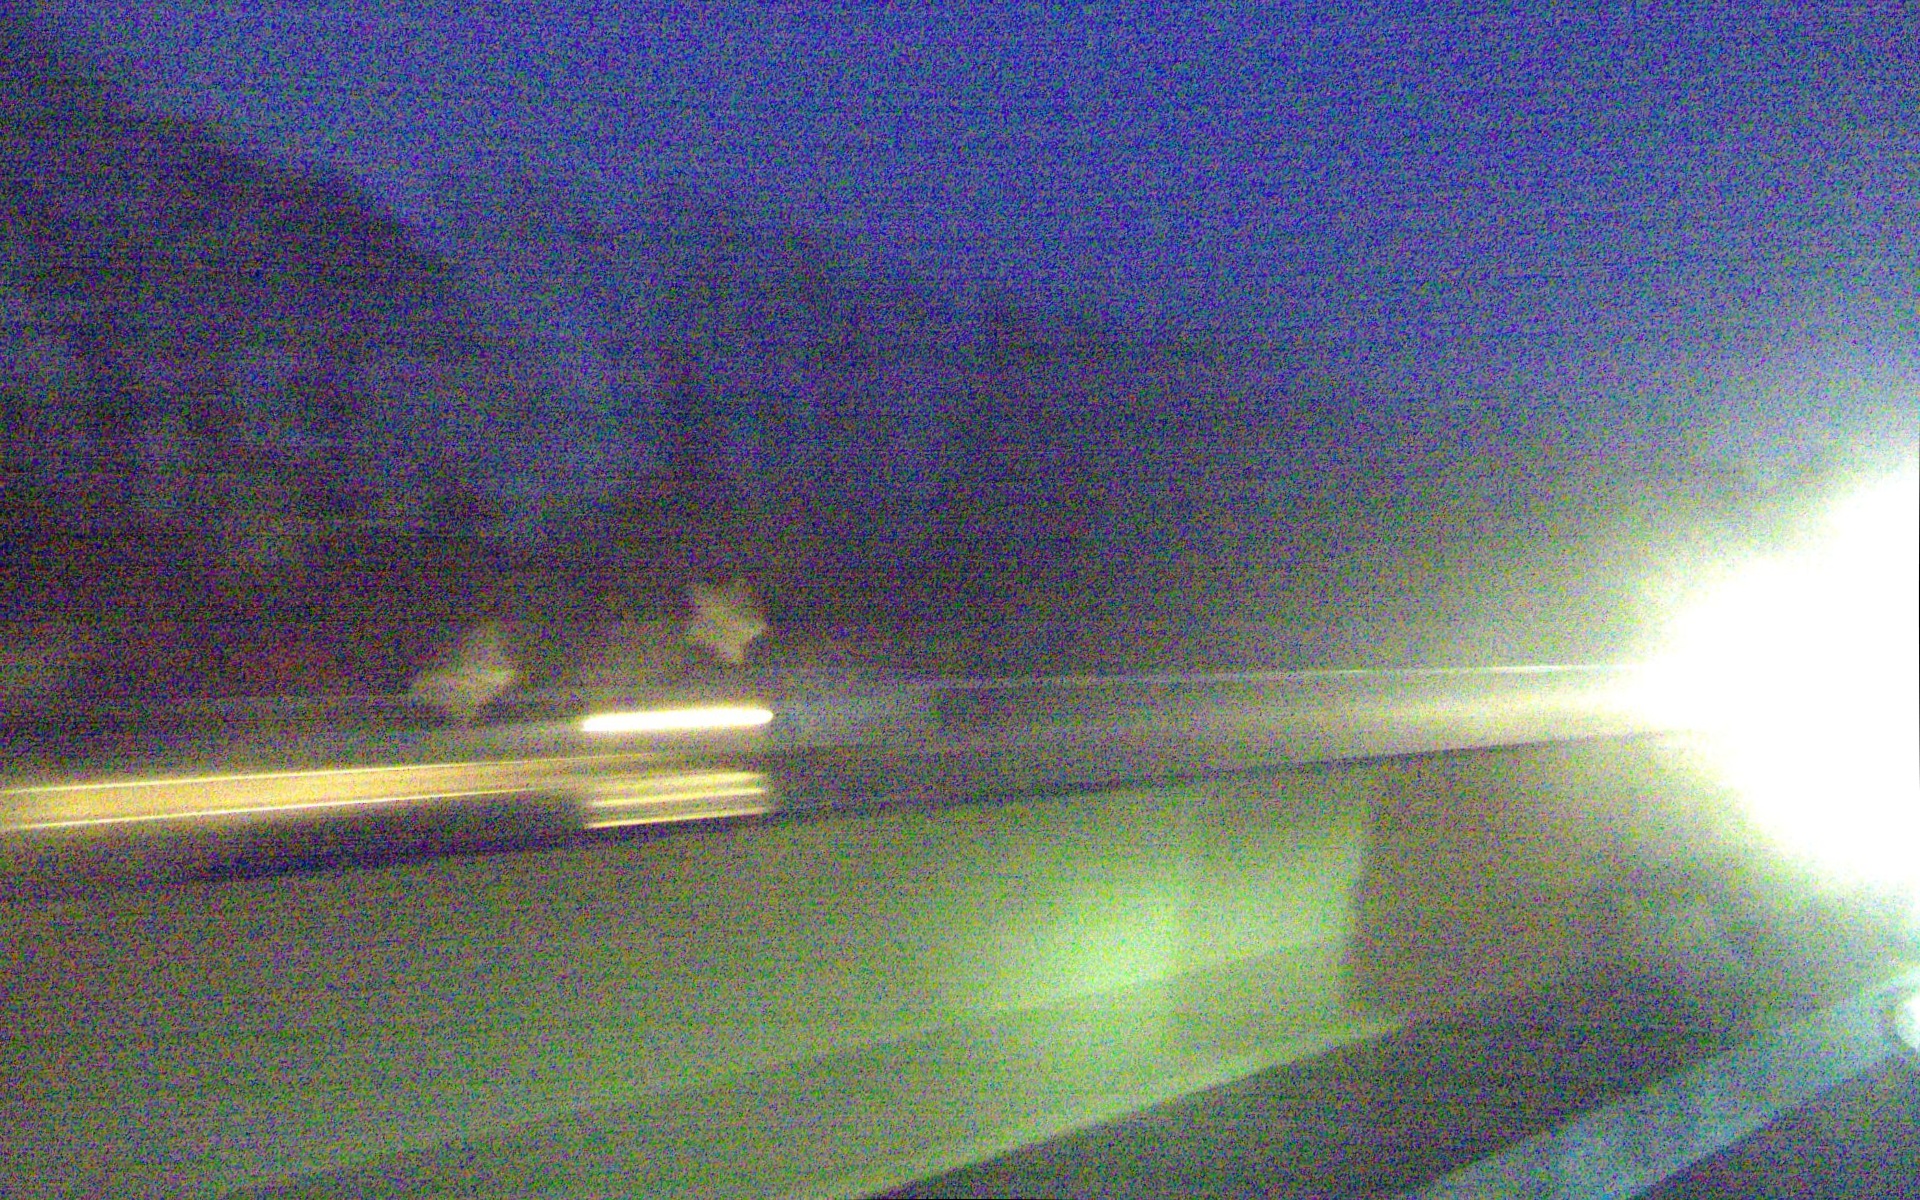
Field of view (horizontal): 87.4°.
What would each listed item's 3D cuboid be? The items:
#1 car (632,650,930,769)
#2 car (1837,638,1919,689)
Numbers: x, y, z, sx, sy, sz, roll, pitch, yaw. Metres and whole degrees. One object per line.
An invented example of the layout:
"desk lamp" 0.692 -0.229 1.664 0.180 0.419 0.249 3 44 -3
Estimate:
"car" -2.895 1.699 16.548 4.456 1.706 1.906 2 -3 -32
"car" 38.723 2.589 41.849 5.039 1.840 1.982 0 1 -33
